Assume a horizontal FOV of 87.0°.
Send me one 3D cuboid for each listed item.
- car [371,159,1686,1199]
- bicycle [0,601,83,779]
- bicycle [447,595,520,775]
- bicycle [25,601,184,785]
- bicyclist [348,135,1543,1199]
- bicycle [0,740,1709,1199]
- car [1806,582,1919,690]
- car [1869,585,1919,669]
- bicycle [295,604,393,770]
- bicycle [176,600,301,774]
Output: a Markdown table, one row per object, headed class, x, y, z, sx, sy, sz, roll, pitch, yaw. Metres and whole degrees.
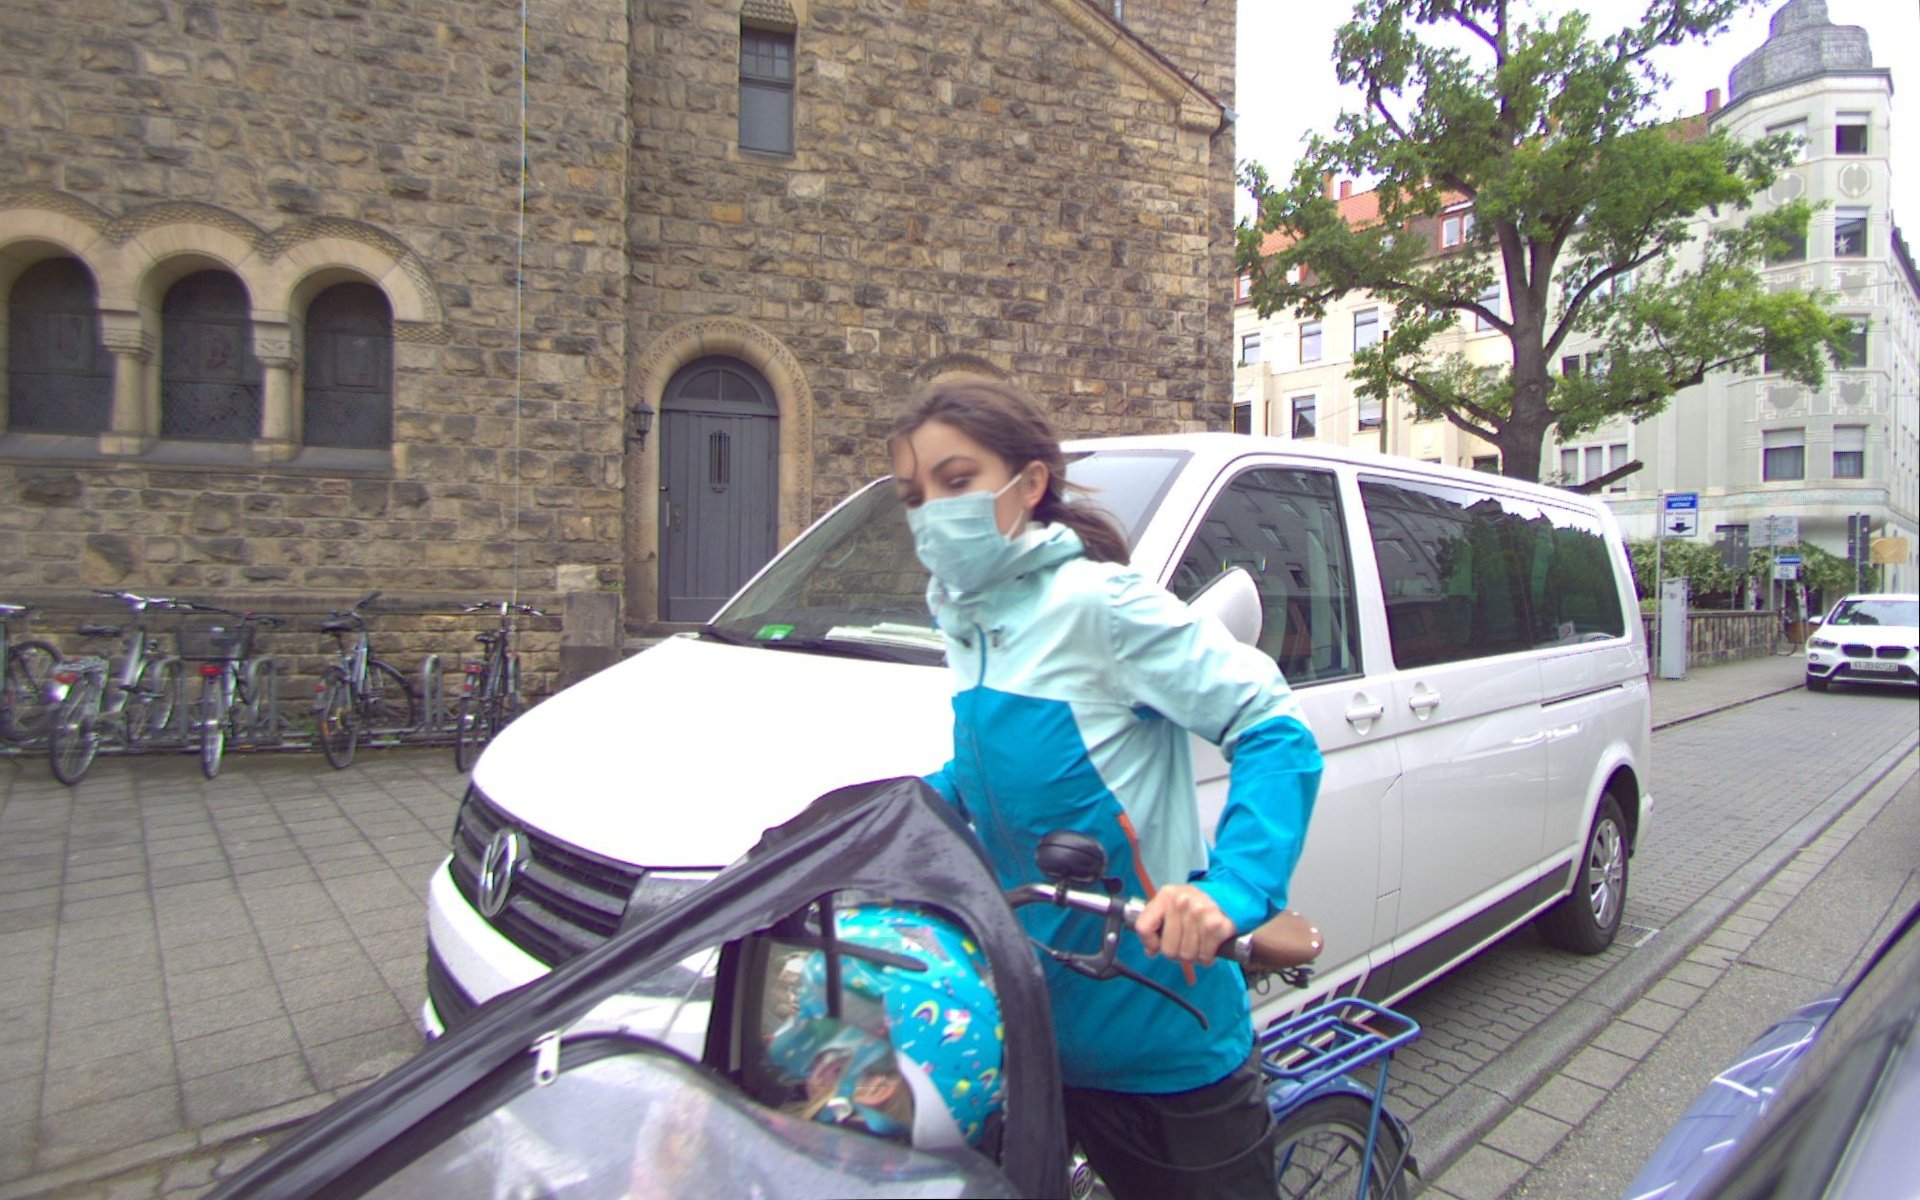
| class | x | y | z | sx | sy | sz | roll | pitch | yaw |
| --- | --- | --- | --- | --- | --- | --- | --- | --- | --- |
| car | 0.923 | 0.384 | 3.710 | 5.075 | 1.944 | 1.807 | 0 | 0 | -42 |
| bicycle | -6.085 | 0.552 | 6.395 | 0.304 | 1.073 | 1.386 | 1 | 0 | -18 |
| bicycle | -3.405 | 0.550 | 7.285 | 0.304 | 1.161 | 1.346 | 1 | 0 | -18 |
| bicycle | -5.621 | 0.553 | 6.713 | 0.304 | 1.073 | 1.386 | 1 | 0 | -18 |
| bicyclist | -0.031 | 0.516 | 1.091 | 1.037 | 1.537 | 0.689 | 1 | 0 | -28 |
| bicycle | 0.023 | 0.816 | 1.222 | 2.094 | 1.112 | 0.496 | 0 | 0 | -26 |
| car | 15.437 | 0.531 | 16.582 | 3.930 | 1.585 | 1.818 | 0 | 1 | -41 |
| car | 19.786 | 0.516 | 20.306 | 3.930 | 1.585 | 1.818 | 0 | 1 | -41 |
| bicycle | -4.443 | 0.577 | 7.350 | 0.304 | 1.073 | 1.346 | 1 | 0 | -18 |
| bicycle | -4.977 | 0.547 | 7.044 | 0.304 | 1.073 | 1.386 | 1 | 0 | -18 |
